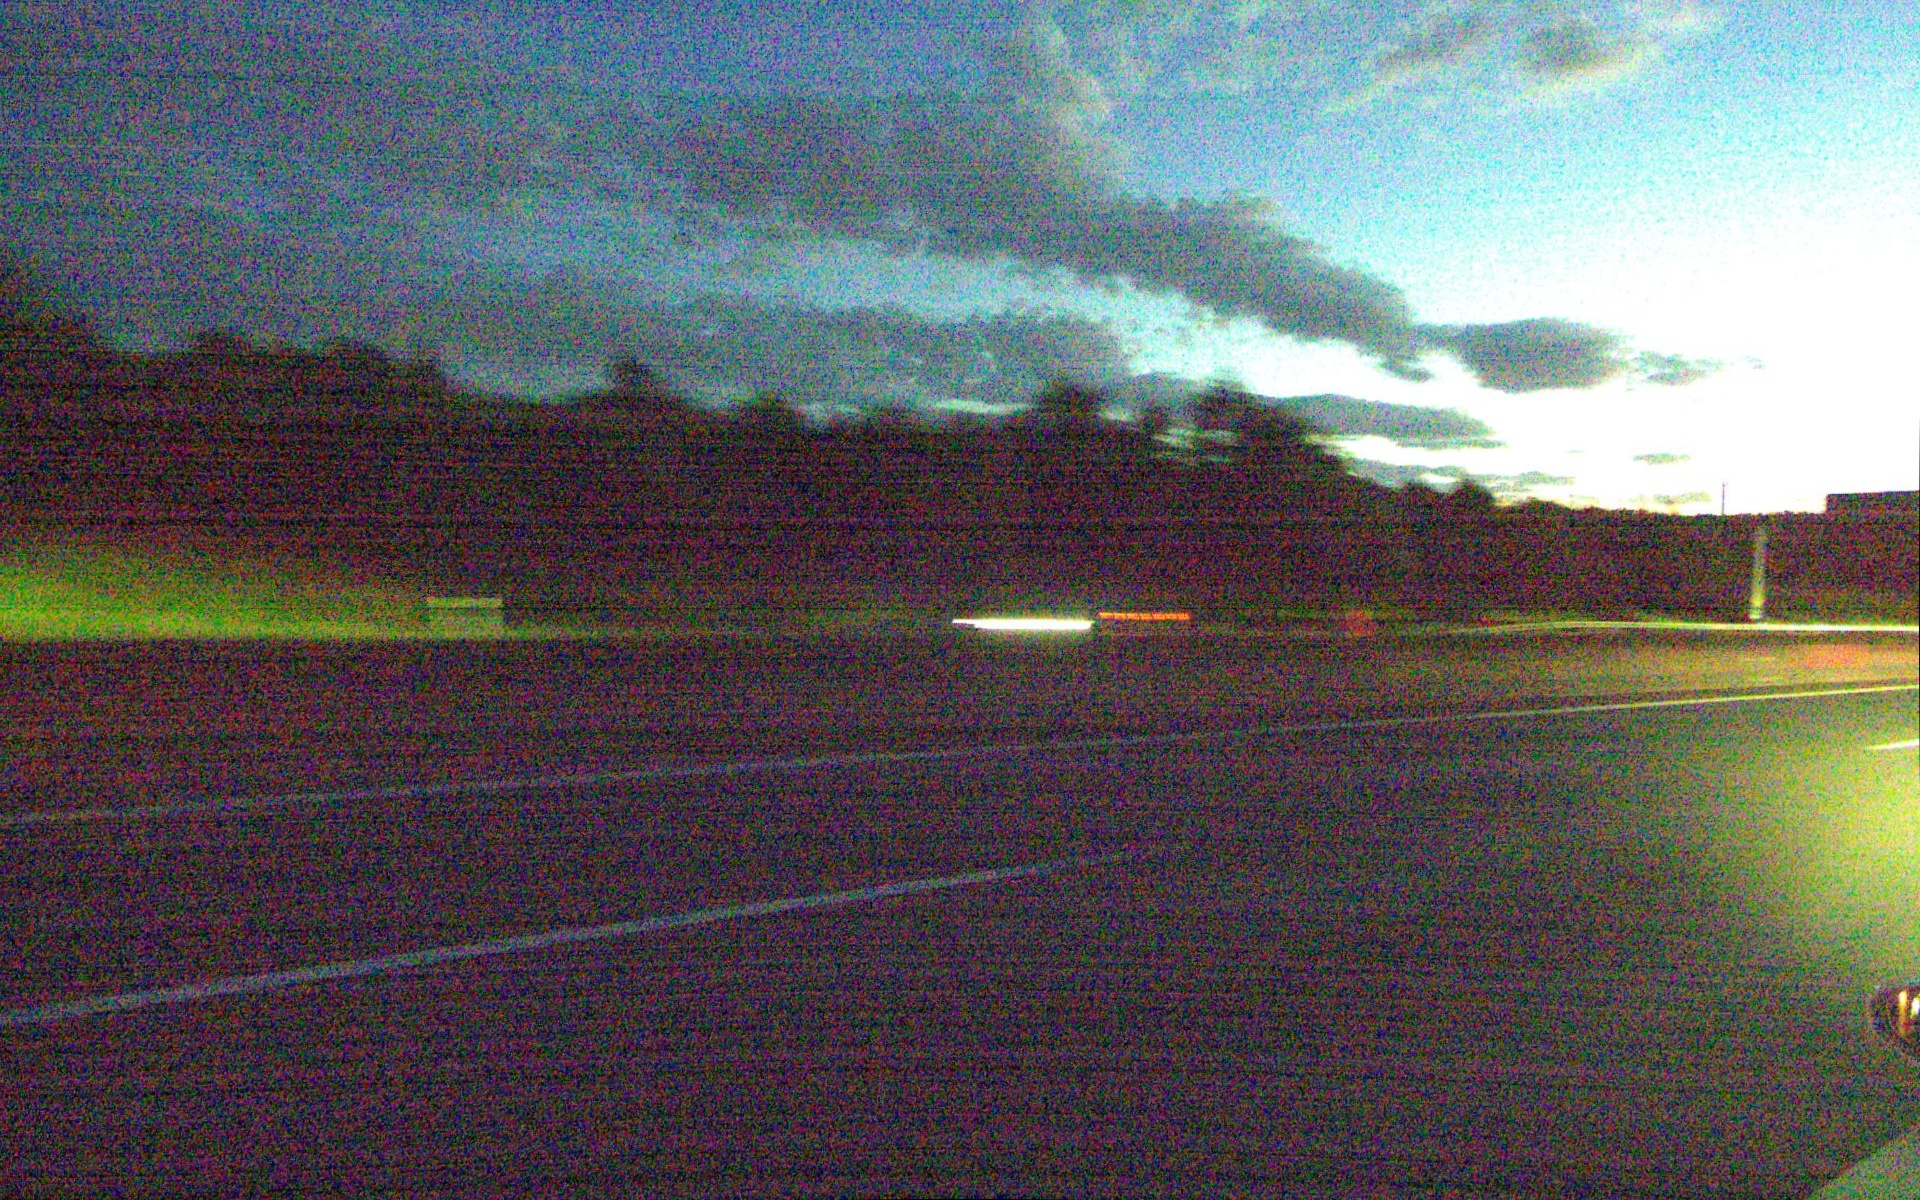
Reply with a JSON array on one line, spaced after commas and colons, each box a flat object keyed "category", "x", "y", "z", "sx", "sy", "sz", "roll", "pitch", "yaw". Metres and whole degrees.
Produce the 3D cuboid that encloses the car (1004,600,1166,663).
[{"category": "car", "x": 3.373, "y": 0.832, "z": 26.918, "sx": 3.957, "sy": 1.529, "sz": 1.982, "roll": 1, "pitch": 0, "yaw": -33}]
